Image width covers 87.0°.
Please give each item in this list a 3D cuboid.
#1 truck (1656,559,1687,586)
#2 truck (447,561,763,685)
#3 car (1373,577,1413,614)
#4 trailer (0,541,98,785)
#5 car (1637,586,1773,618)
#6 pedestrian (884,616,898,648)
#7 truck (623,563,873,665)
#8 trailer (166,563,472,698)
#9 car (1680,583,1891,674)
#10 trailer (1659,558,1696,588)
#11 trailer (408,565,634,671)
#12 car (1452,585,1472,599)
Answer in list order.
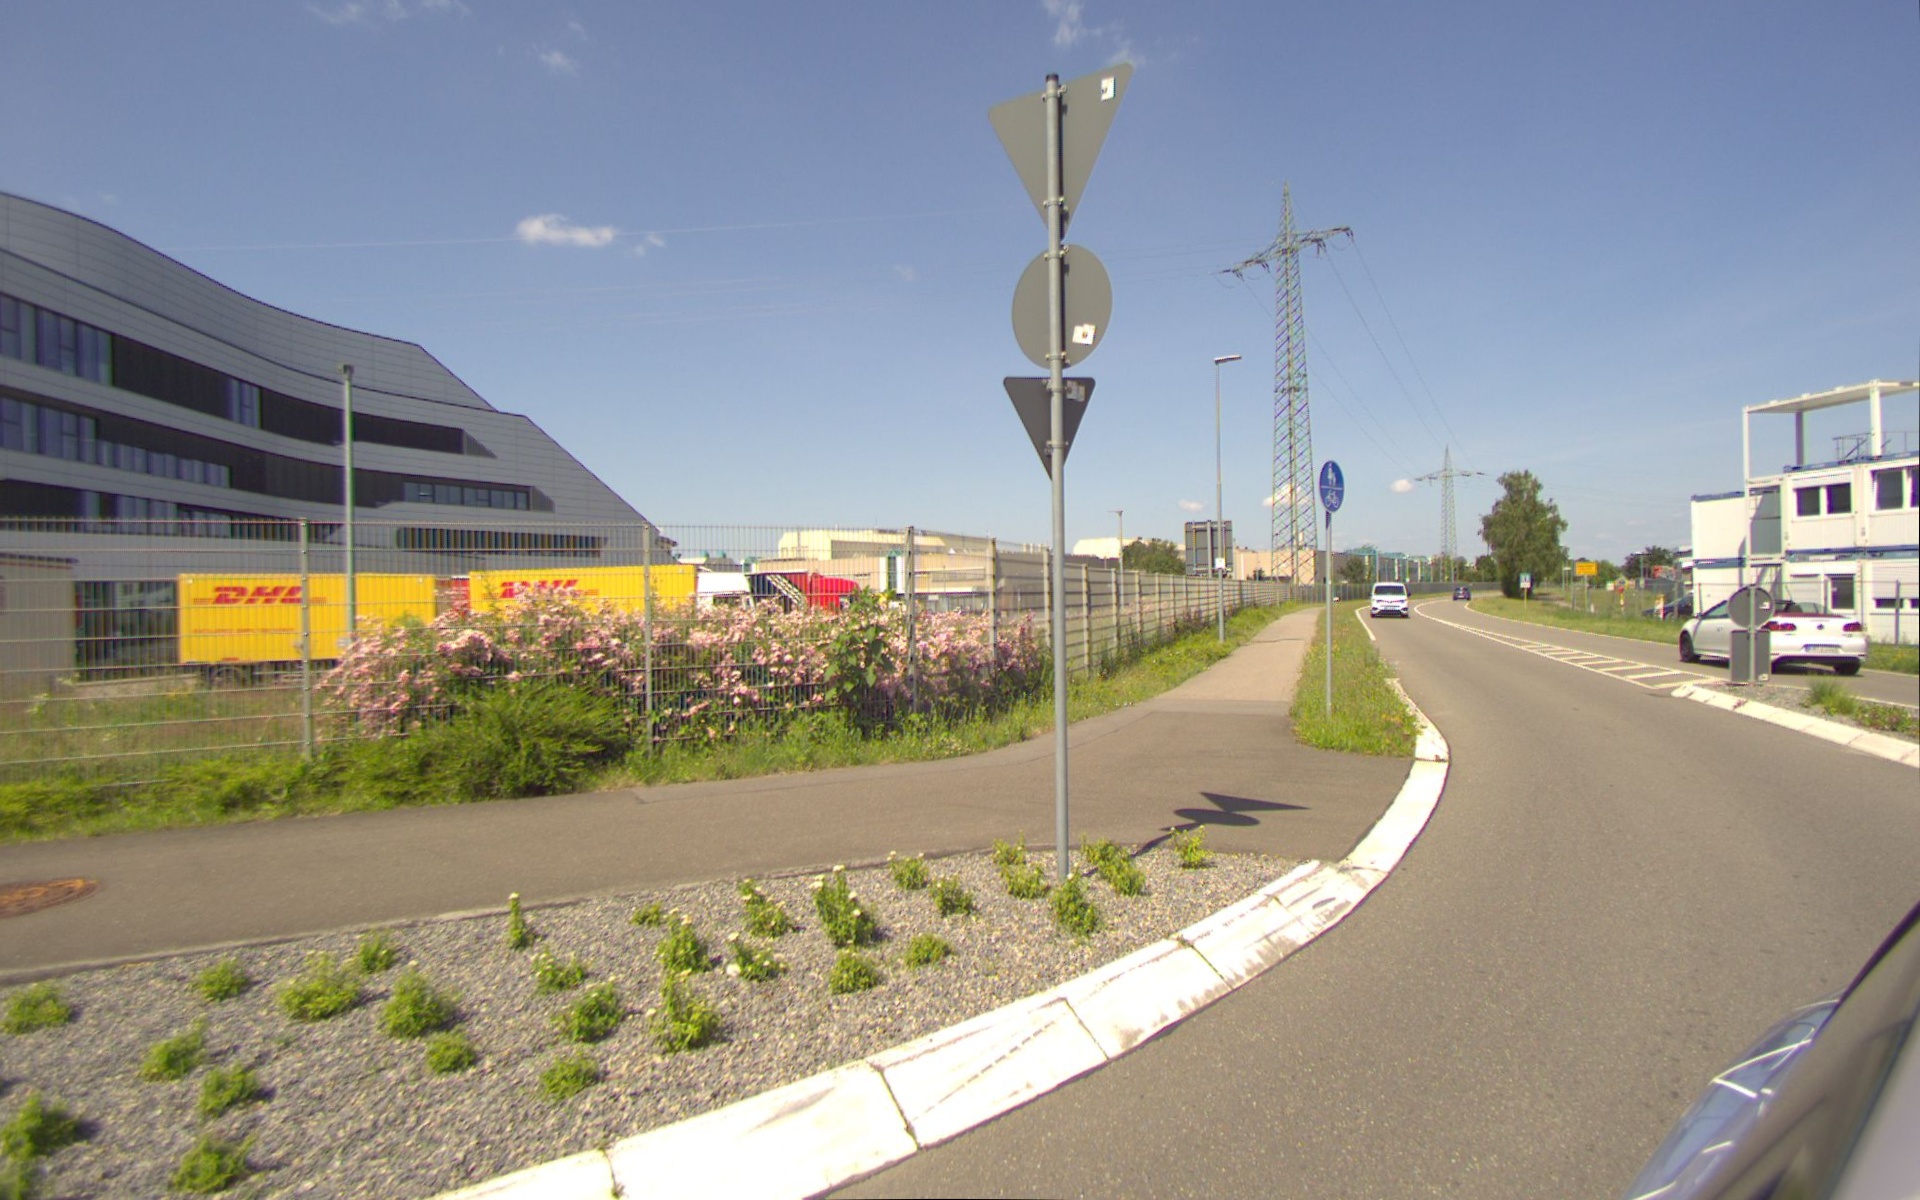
[{"bbox_3d":[98.217,-3.793,139.740,3.089,3.690,10.470,0,2,33],"label":"truck"},{"bbox_3d":[-12.798,0.734,37.571,10.746,4.224,2.828,-1,1,-10],"label":"truck"},{"bbox_3d":[22.466,-0.271,52.616,1.816,1.829,4.794,0,1,22],"label":"car"},{"bbox_3d":[-24.643,1.224,18.565,13.771,4.493,2.772,-1,1,-11],"label":"trailer"},{"bbox_3d":[36.203,0.112,49.329,4.909,1.435,1.992,-1,0,13],"label":"car"},{"bbox_3d":[-3.607,1.673,53.087,0.479,1.674,0.569,-2,0,25],"label":"pedestrian"},{"bbox_3d":[-9.491,0.533,46.041,10.746,4.309,3.035,-1,1,-11],"label":"truck"},{"bbox_3d":[-22.122,0.935,35.525,8.533,4.349,2.908,-1,1,-14],"label":"trailer"},{"bbox_3d":[15.877,0.473,19.752,1.751,1.445,4.033,-1,3,17],"label":"car"},{"bbox_3d":[91.426,-3.464,129.135,3.277,3.690,14.751,0,2,33],"label":"trailer"},{"bbox_3d":[-18.928,0.687,44.238,8.535,4.349,3.035,-1,1,-10],"label":"trailer"},{"bbox_3d":[57.488,-0.944,115.916,1.695,1.500,3.956,0,2,32],"label":"car"}]
